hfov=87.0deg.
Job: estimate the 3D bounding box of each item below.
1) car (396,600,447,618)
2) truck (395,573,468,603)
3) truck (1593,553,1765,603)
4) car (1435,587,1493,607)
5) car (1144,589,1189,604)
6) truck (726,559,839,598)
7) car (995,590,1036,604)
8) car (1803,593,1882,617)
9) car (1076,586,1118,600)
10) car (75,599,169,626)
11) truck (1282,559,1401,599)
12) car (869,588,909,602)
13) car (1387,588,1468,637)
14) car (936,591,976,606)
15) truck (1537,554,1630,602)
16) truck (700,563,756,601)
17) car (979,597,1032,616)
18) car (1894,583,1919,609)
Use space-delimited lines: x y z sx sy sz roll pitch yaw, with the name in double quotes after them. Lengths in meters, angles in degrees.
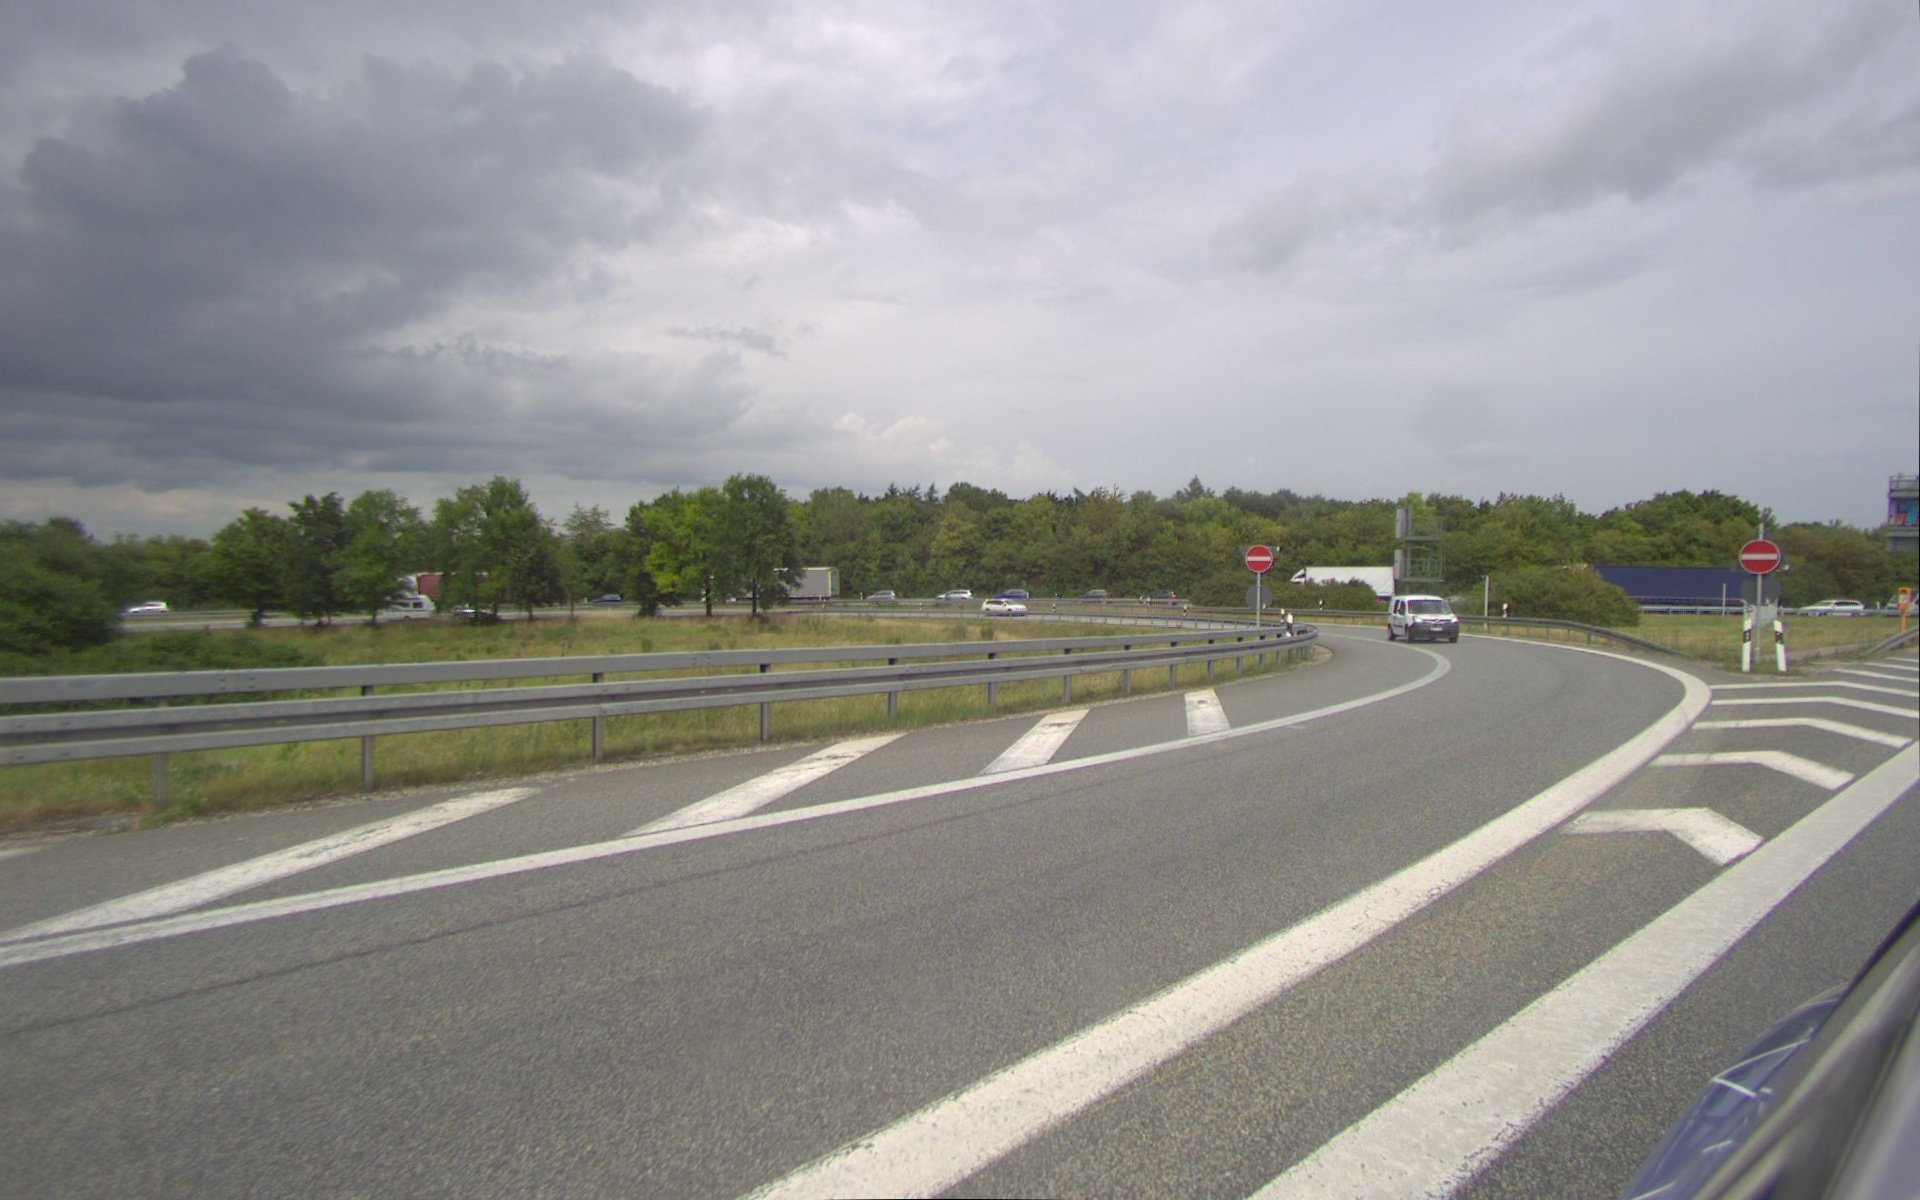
-54.926 0.908 103.303 4.257 1.675 2.039 -1 0 -18 "car"
-59.778 -1.371 114.616 6.794 3.308 3.203 0 0 -15 "truck"
58.774 -1.761 82.914 11.583 3.907 2.843 0 0 5 "truck"
39.933 -0.249 80.288 3.951 1.569 1.726 0 0 21 "car"
19.752 -0.295 96.916 3.962 1.418 1.544 0 0 28 "car"
-20.077 -2.362 114.222 12.836 4.296 2.681 0 0 17 "truck"
5.733 -0.311 104.390 3.951 1.512 1.548 0 0 21 "car"
70.434 0.388 80.806 4.417 1.807 1.998 0 0 5 "car"
13.706 -0.697 101.168 3.958 1.468 1.545 0 0 25 "car"
-84.616 1.193 102.310 6.950 2.602 2.767 0 0 -32 "car"
33.933 -1.788 90.135 9.772 3.446 2.672 0 0 25 "truck"
-7.735 -0.539 110.261 3.950 1.498 1.693 -1 0 20 "car"
17.729 0.432 38.580 1.834 1.768 3.988 -1 0 11 "car"
-0.420 -0.163 107.697 3.952 1.576 1.786 0 0 22 "car"
51.388 -1.791 83.536 5.823 3.851 2.898 0 0 5 "truck"
-26.676 -2.035 116.241 5.716 4.232 2.679 -1 -1 17 "truck"
3.844 0.518 85.990 4.467 1.560 1.700 0 0 43 "car"
79.188 -0.320 81.953 5.832 2.039 2.003 0 0 -8 "car"
